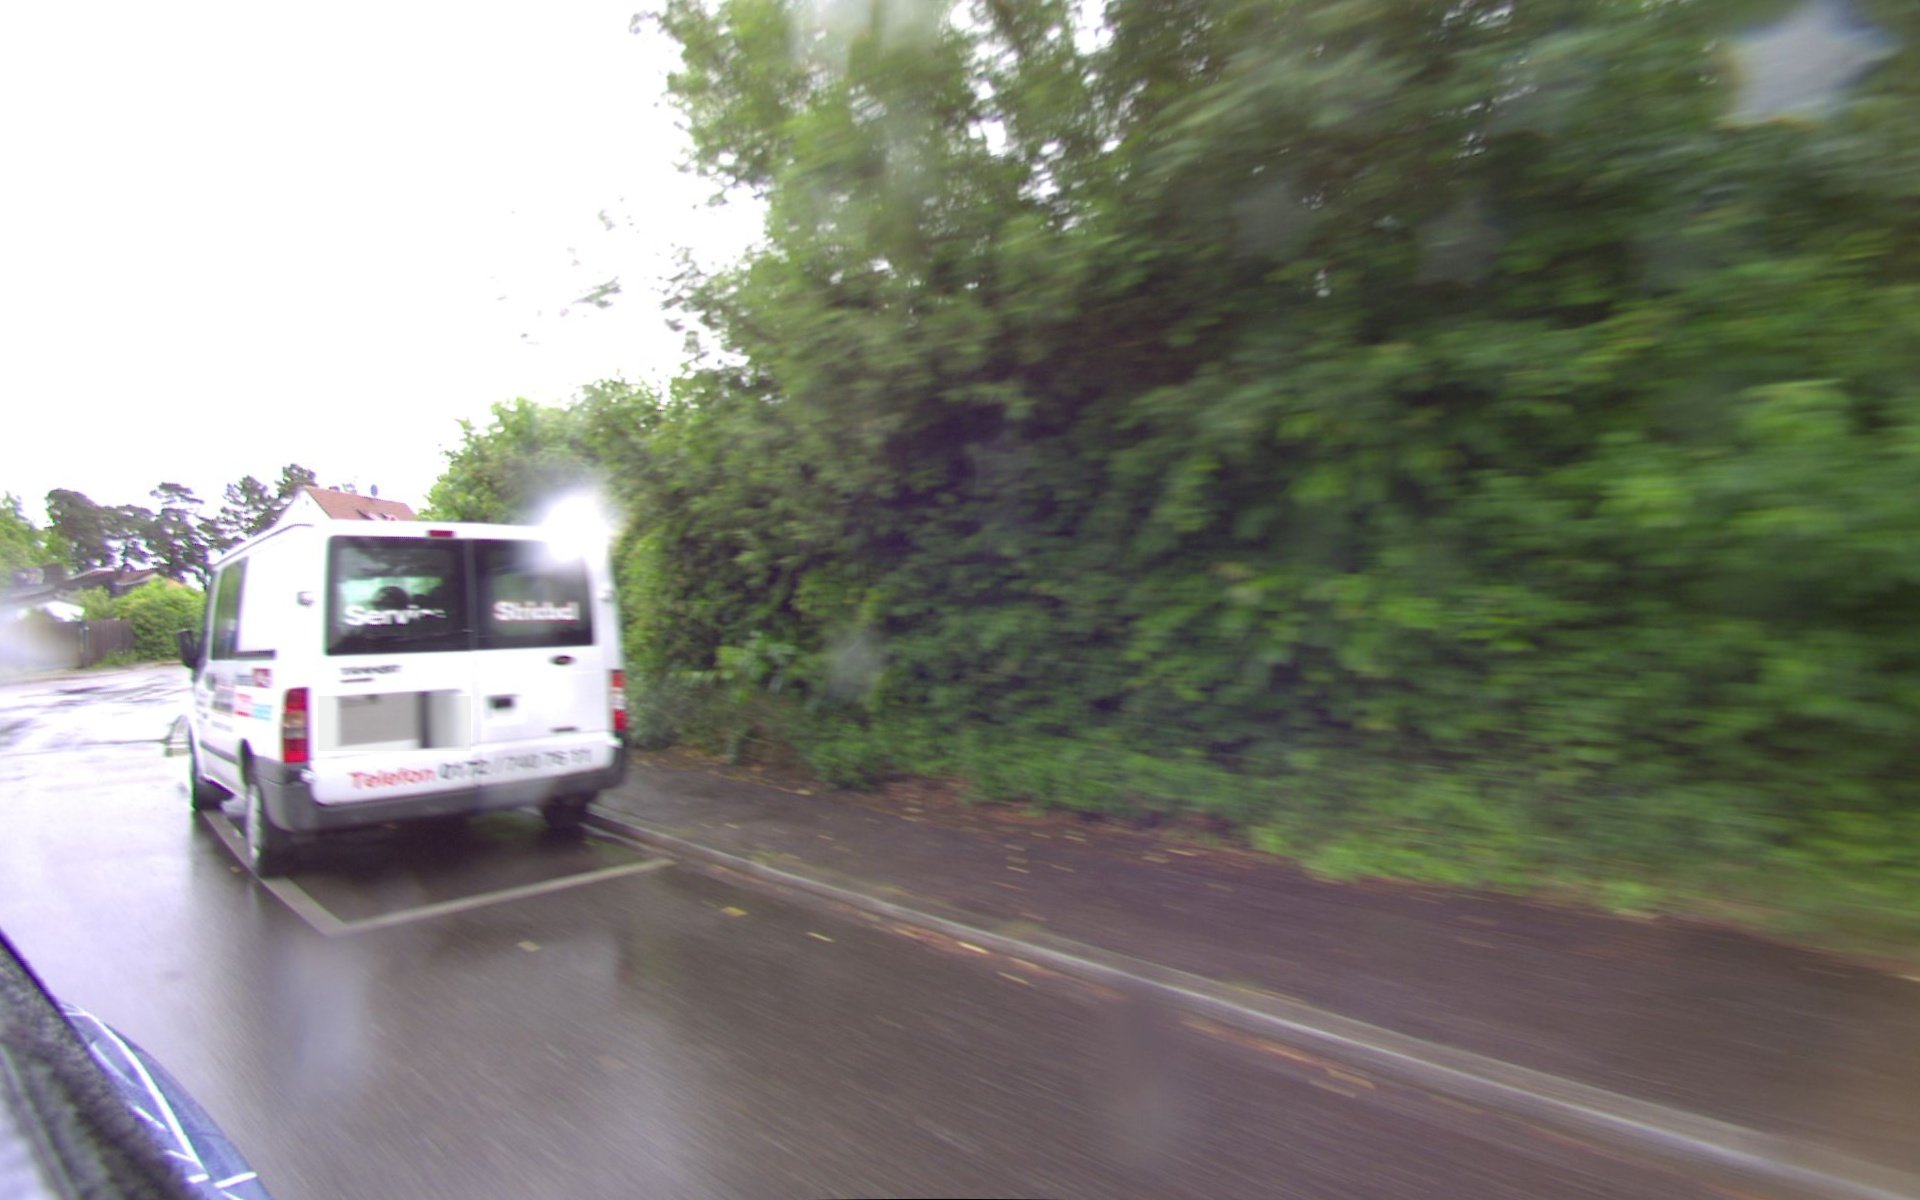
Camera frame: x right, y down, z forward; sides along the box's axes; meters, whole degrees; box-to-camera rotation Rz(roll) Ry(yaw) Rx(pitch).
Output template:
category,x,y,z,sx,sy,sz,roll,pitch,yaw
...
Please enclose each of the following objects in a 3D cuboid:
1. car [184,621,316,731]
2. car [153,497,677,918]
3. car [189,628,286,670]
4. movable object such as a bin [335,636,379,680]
category,x,y,z,sx,sy,sz,roll,pitch,yaw
car,-11.256,1.130,15.989,1.581,1.523,2.949,0,-1,-37
car,-4.287,0.574,7.403,2.086,1.989,5.177,0,-1,-44
car,-29.031,1.924,40.840,1.771,1.480,4.227,-2,0,-15
movable object such as a bin,-15.717,1.509,26.396,0.834,1.076,0.624,-4,-1,-20
